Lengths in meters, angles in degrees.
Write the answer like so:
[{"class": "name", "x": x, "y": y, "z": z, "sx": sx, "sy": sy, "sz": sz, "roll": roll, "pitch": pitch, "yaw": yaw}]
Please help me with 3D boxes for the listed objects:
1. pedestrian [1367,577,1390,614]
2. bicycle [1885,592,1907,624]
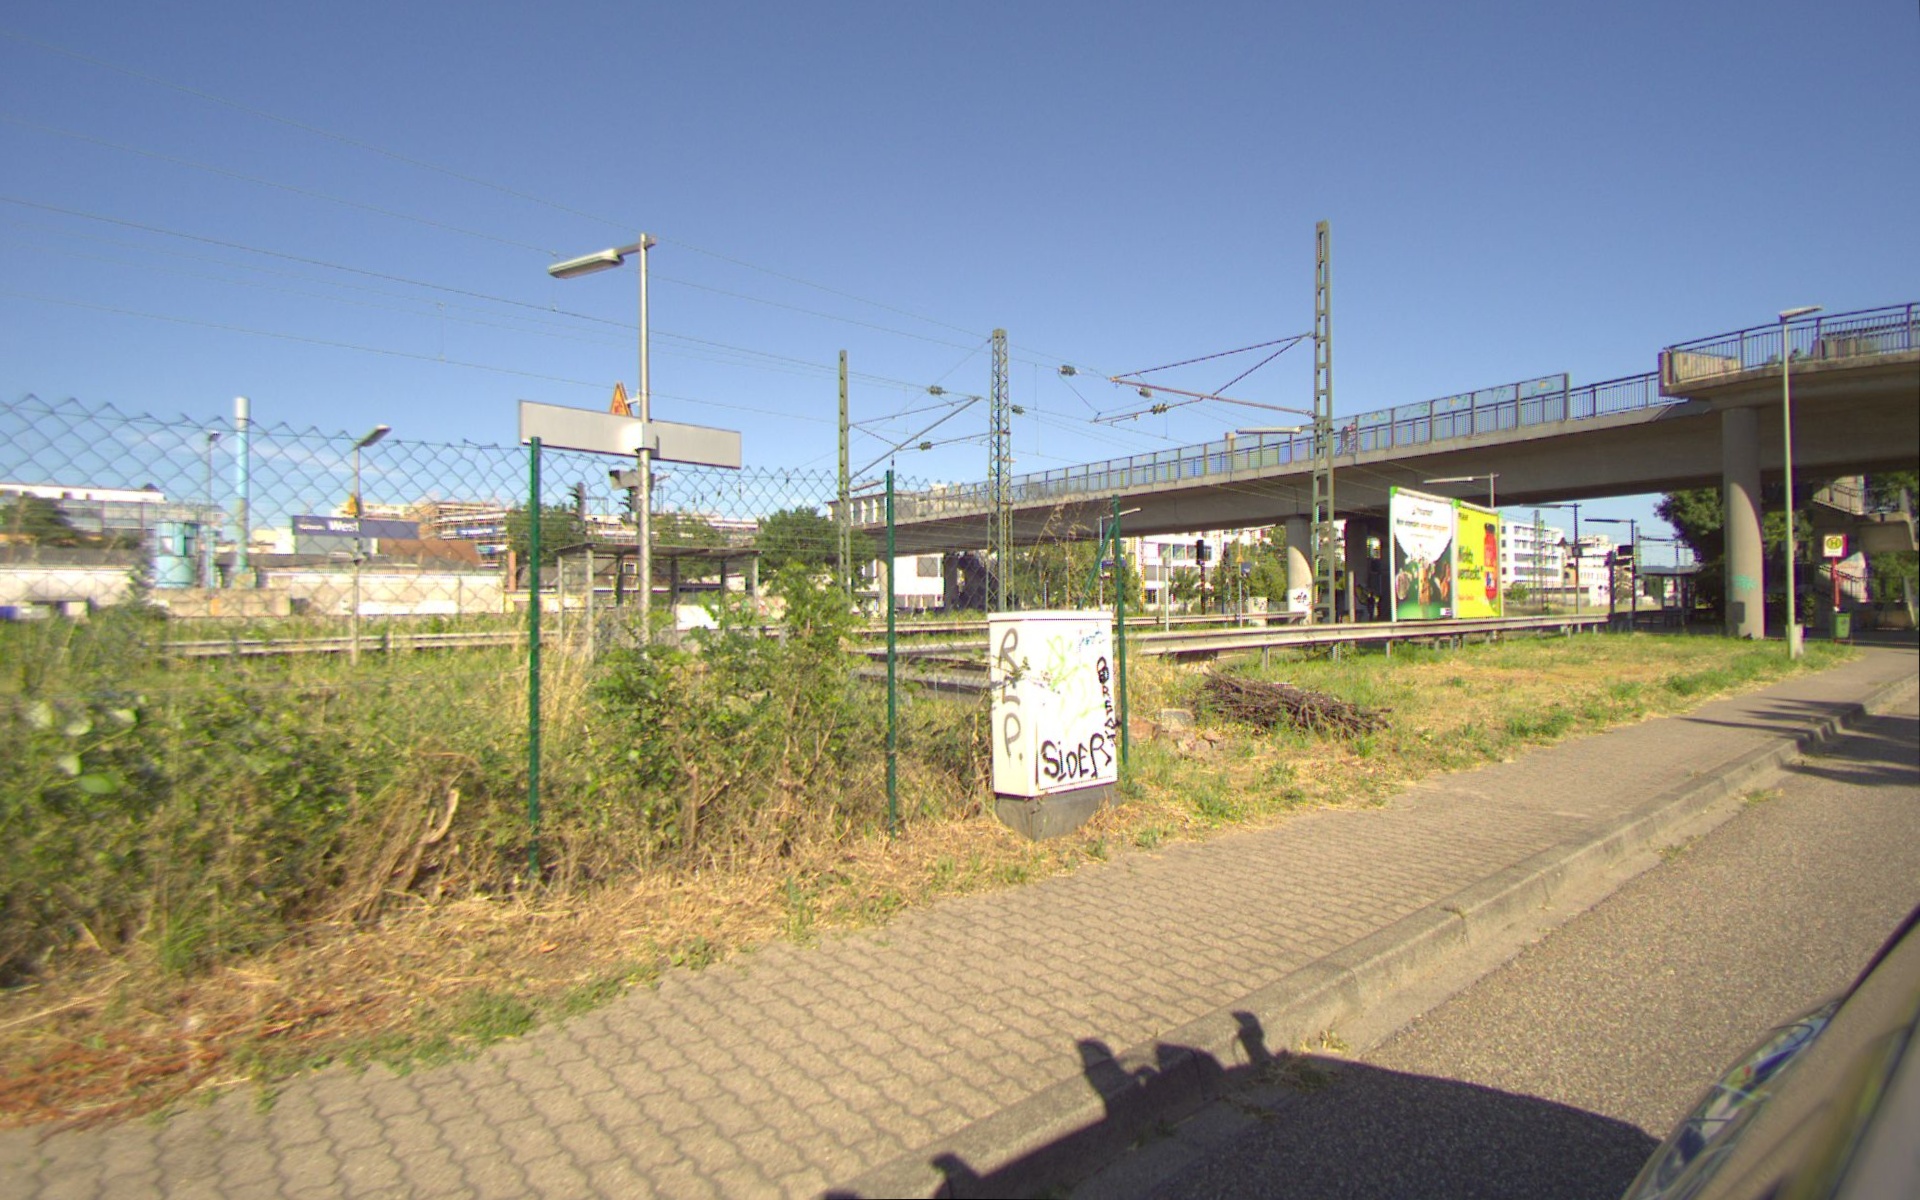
[{"class": "pedestrian", "x": 23.173, "y": -0.246, "z": 56.029, "sx": 0.822, "sy": 2.039, "sz": 0.893, "roll": 0, "pitch": 0, "yaw": -44}, {"class": "bicycle", "x": 36.653, "y": 0.289, "z": 39.637, "sx": 0.597, "sy": 1.197, "sz": 2.147, "roll": 0, "pitch": 0, "yaw": 43}]
